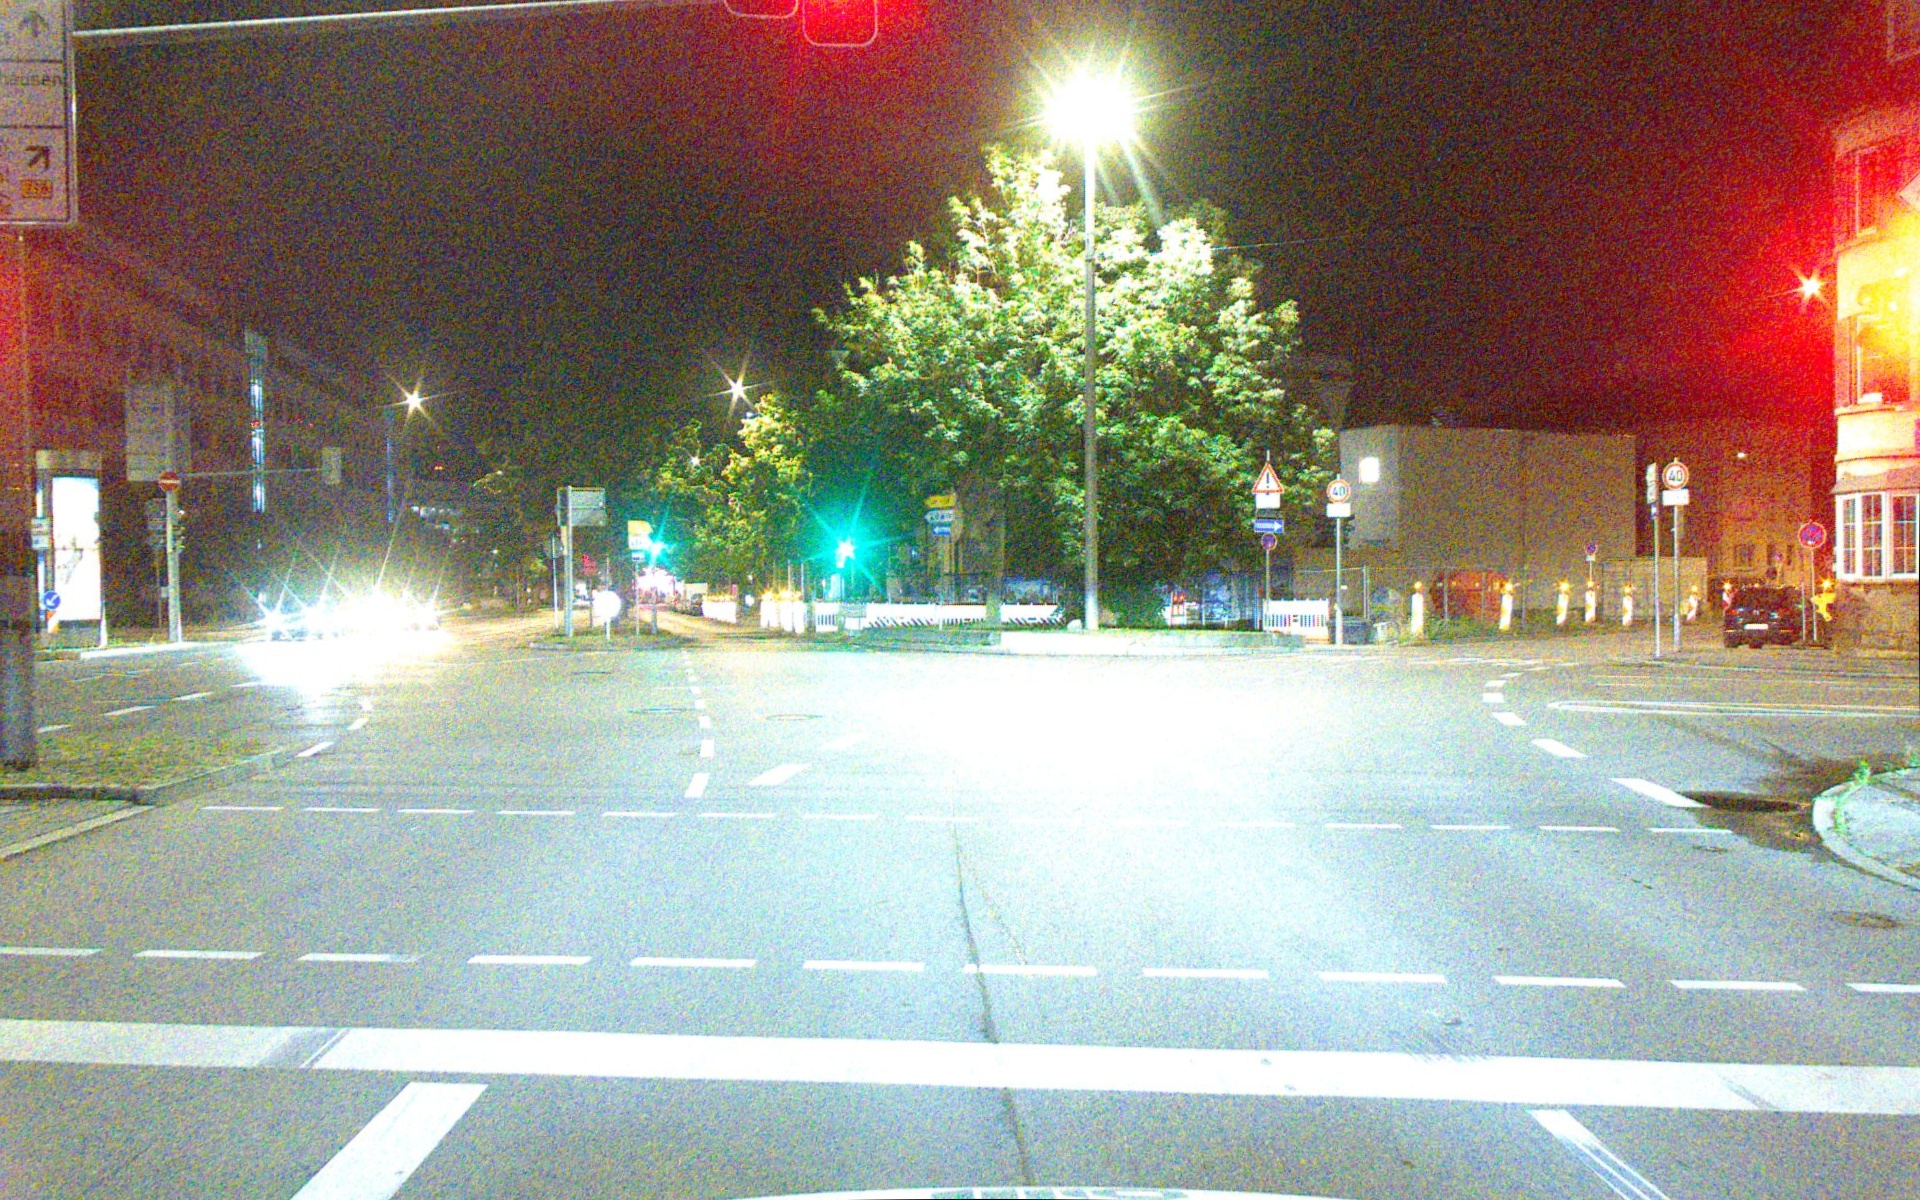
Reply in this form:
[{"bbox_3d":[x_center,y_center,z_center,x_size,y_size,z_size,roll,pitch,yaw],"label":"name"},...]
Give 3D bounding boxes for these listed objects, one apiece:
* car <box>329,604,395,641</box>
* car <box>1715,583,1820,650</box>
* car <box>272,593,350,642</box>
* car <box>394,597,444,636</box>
[{"bbox_3d":[-22.599,0.823,62.597,1.726,1.345,3.539,0,0,-10],"label":"car"},{"bbox_3d":[20.721,0.409,42.373,1.700,1.640,3.606,-1,-1,38],"label":"car"},{"bbox_3d":[-21.580,0.574,55.102,1.586,1.541,3.991,0,0,-9],"label":"car"},{"bbox_3d":[-25.340,0.770,77.592,1.726,1.758,3.539,0,0,-10],"label":"car"}]
